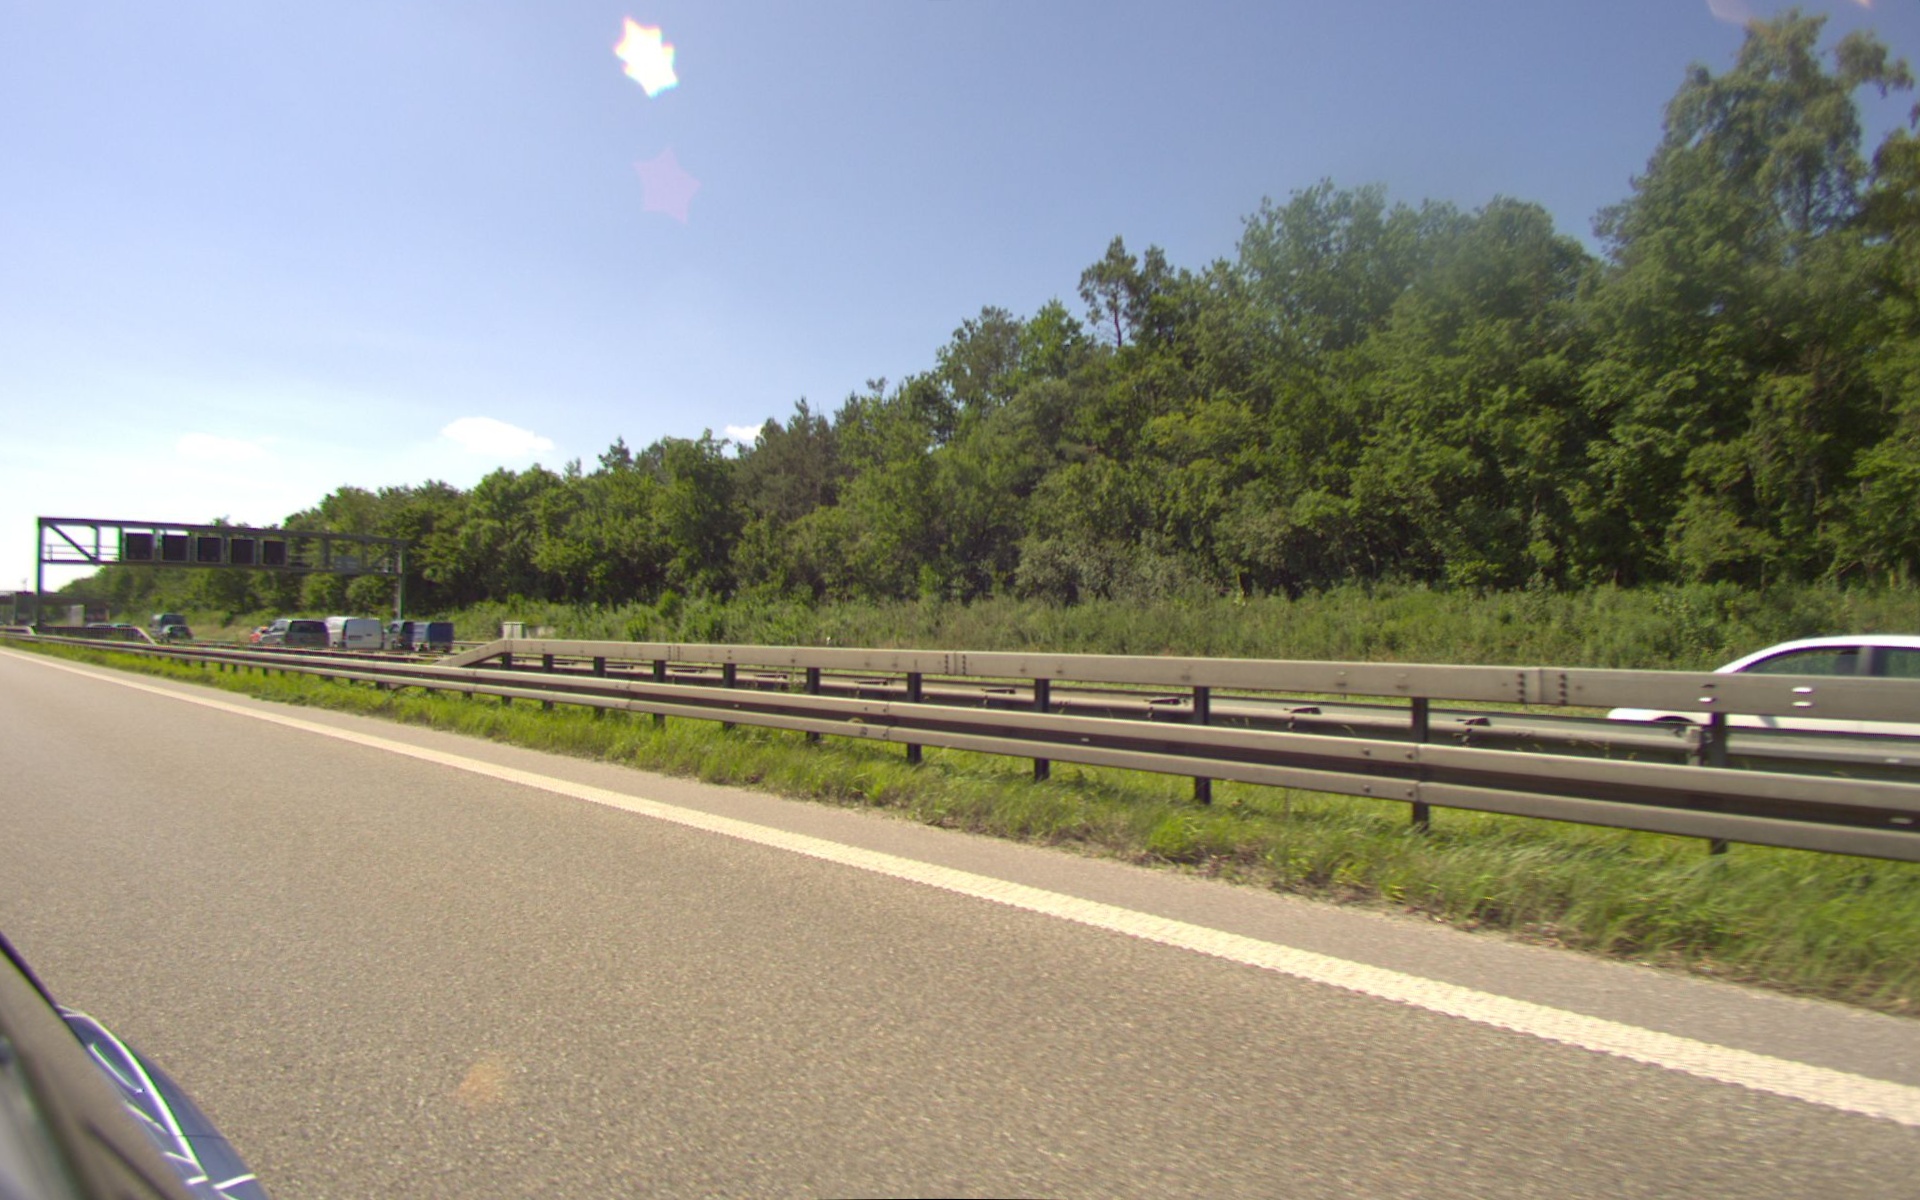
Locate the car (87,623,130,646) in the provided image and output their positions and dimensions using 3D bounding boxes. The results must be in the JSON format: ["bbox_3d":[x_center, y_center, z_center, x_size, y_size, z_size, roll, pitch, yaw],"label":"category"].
[{"bbox_3d":[-60.939,2.442,72.393,3.843,1.646,1.753,-1,-2,41],"label":"car"}]

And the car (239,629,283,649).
[{"bbox_3d":[-51.051,2.830,73.908,3.843,1.424,1.753,-1,-2,41],"label":"car"}]

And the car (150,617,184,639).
[{"bbox_3d":[-73.258,2.556,93.459,3.843,1.962,1.753,-1,-2,41],"label":"car"}]

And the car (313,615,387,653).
[{"bbox_3d":[-28.828,1.576,47.772,3.795,1.724,1.924,-1,-2,41],"label":"car"}]

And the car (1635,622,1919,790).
[{"bbox_3d":[8.636,0.970,9.609,3.541,1.453,1.578,-1,-4,41],"label":"car"}]

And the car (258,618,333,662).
[{"bbox_3d":[-26.808,1.581,40.799,3.241,1.724,1.726,-1,-2,41],"label":"car"}]

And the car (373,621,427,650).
[{"bbox_3d":[-30.202,1.905,54.544,3.388,1.506,1.522,-1,-2,41],"label":"car"}]

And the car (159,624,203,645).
[{"bbox_3d":[-55.910,2.448,72.598,3.843,1.424,1.753,-1,-2,41],"label":"car"}]

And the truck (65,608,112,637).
[{"bbox_3d":[-121.528,3.197,141.030,9.646,3.899,3.558,-1,-2,41],"label":"truck"}]

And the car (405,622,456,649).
[{"bbox_3d":[-27.285,1.805,52.156,2.725,1.372,1.423,-1,-2,41],"label":"car"}]
